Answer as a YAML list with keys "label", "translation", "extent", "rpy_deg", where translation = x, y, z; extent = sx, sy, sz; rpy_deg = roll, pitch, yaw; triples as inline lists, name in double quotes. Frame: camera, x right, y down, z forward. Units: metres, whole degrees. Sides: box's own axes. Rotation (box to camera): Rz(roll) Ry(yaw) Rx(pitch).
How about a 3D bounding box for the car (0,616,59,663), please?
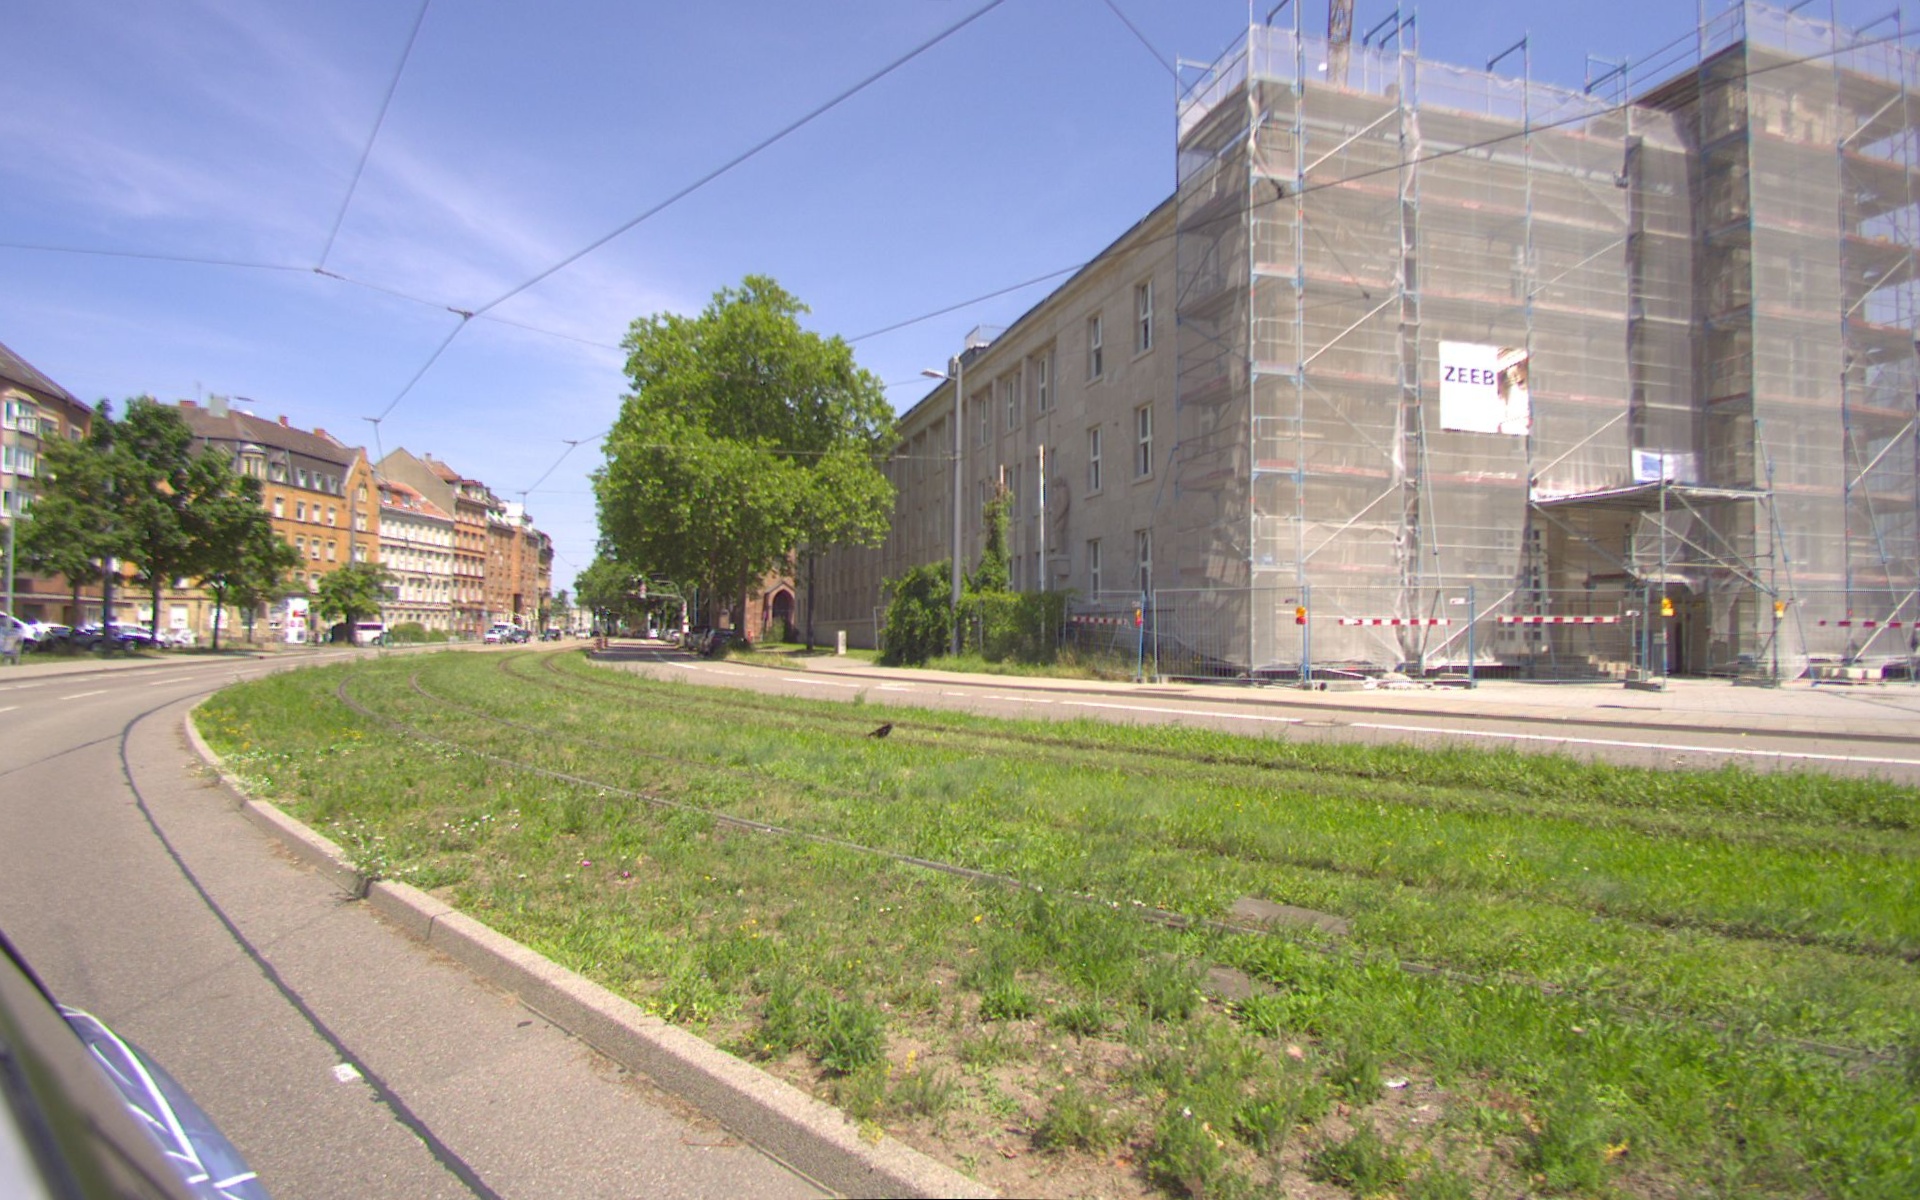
- label: "car"
  translation: [-41.529, 1.693, 42.943]
  extent: [2.077, 1.988, 4.779]
  rpy_deg: [-3, -2, 43]

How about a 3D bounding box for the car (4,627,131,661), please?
- label: "car"
  translation: [-43.384, 2.126, 49.329]
  extent: [4.562, 1.508, 1.968]
  rpy_deg: [0, -2, -42]

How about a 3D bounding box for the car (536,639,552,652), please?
- label: "car"
  translation: [-53.833, 5.840, 130.975]
  extent: [1.770, 1.586, 4.012]
  rpy_deg: [-1, -2, -19]

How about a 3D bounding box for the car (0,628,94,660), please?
- label: "car"
  translation: [-42.194, 1.995, 46.204]
  extent: [3.936, 1.397, 1.827]
  rpy_deg: [0, -2, -39]

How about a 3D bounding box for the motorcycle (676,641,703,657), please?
- label: "motorcycle"
  translation: [-20.478, 3.719, 76.546]
  extent: [0.727, 1.076, 1.846]
  rpy_deg: [-3, -1, 41]

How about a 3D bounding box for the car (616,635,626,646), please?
- label: "car"
  translation: [-67.688, 8.073, 201.923]
  extent: [1.791, 2.314, 3.774]
  rpy_deg: [0, -2, -20]

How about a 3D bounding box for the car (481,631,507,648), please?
- label: "car"
  translation: [-44.831, 3.789, 97.423]
  extent: [1.771, 1.586, 4.012]
  rpy_deg: [-1, -2, -16]

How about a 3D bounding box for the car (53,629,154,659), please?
- label: "car"
  translation: [-44.164, 2.254, 52.287]
  extent: [3.936, 1.410, 1.827]
  rpy_deg: [0, -2, -39]

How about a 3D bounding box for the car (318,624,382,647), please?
- label: "car"
  translation: [-54.491, 3.177, 90.492]
  extent: [4.770, 1.953, 2.174]
  rpy_deg: [0, -2, -28]

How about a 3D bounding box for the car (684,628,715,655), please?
- label: "car"
  translation: [-18.589, 2.906, 72.029]
  extent: [1.966, 1.825, 4.313]
  rpy_deg: [-1, -2, -16]

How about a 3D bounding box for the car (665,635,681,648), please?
- label: "car"
  translation: [-33.434, 4.808, 117.812]
  extent: [1.635, 1.470, 4.233]
  rpy_deg: [-1, -2, -18]

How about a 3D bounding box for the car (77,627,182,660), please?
- label: "car"
  translation: [-45.296, 2.346, 55.289]
  extent: [4.343, 1.644, 2.003]
  rpy_deg: [0, -2, -40]

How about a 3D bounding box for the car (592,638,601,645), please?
- label: "car"
  translation: [-80.374, 9.068, 223.584]
  extent: [1.721, 1.405, 4.361]
  rpy_deg: [-2, -1, -21]

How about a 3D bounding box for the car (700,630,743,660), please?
- label: "car"
  translation: [-12.499, 2.334, 52.964]
  extent: [1.565, 1.434, 4.337]
  rpy_deg: [0, -2, -21]

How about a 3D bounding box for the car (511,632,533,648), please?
- label: "car"
  translation: [-47.195, 4.285, 109.095]
  extent: [1.771, 1.586, 4.012]
  rpy_deg: [-1, -2, -16]
